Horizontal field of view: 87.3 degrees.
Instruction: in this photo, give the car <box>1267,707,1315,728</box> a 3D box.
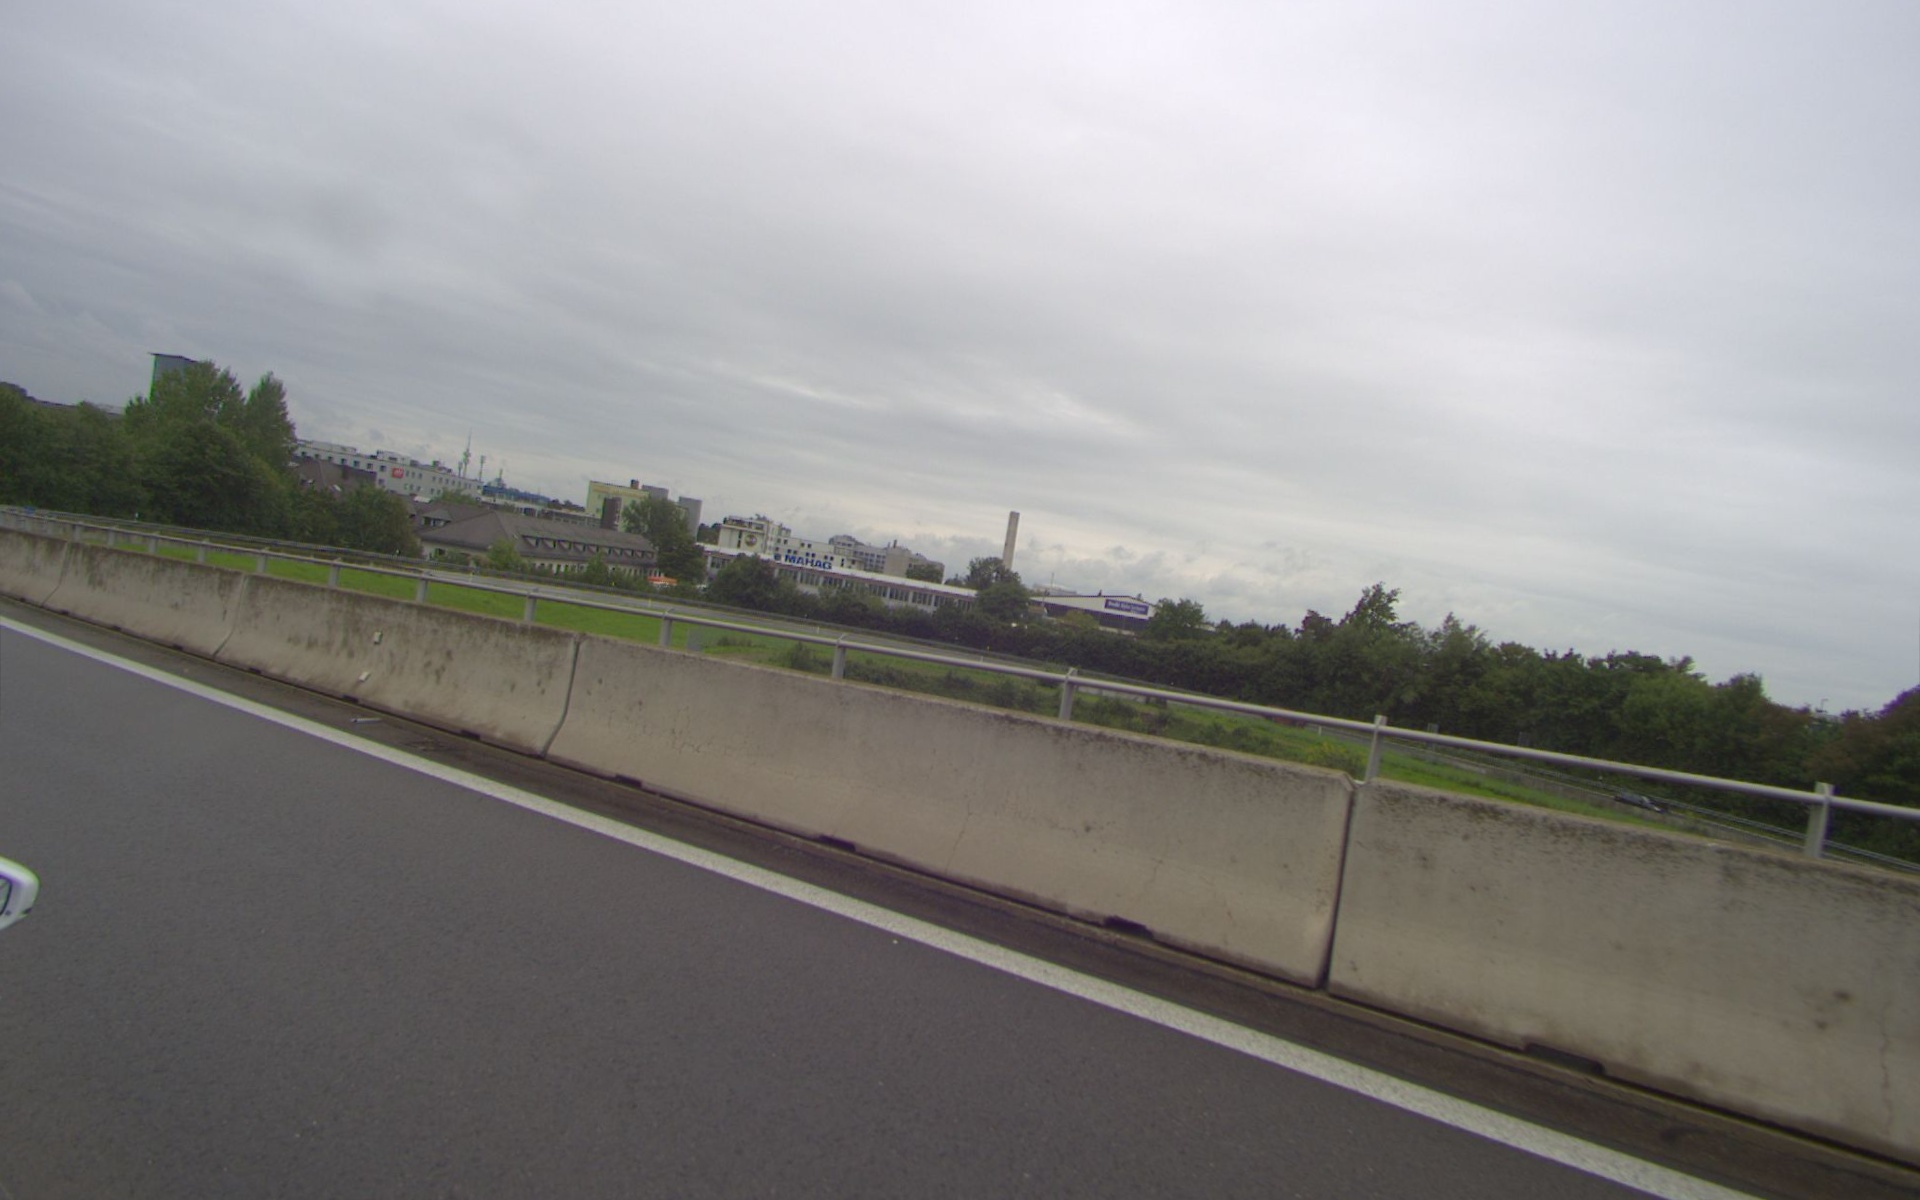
[{"bbox_3d":[34.898,12.360,106.125,4.457,1.620,1.713,3,-4,37],"label":"car"}]
